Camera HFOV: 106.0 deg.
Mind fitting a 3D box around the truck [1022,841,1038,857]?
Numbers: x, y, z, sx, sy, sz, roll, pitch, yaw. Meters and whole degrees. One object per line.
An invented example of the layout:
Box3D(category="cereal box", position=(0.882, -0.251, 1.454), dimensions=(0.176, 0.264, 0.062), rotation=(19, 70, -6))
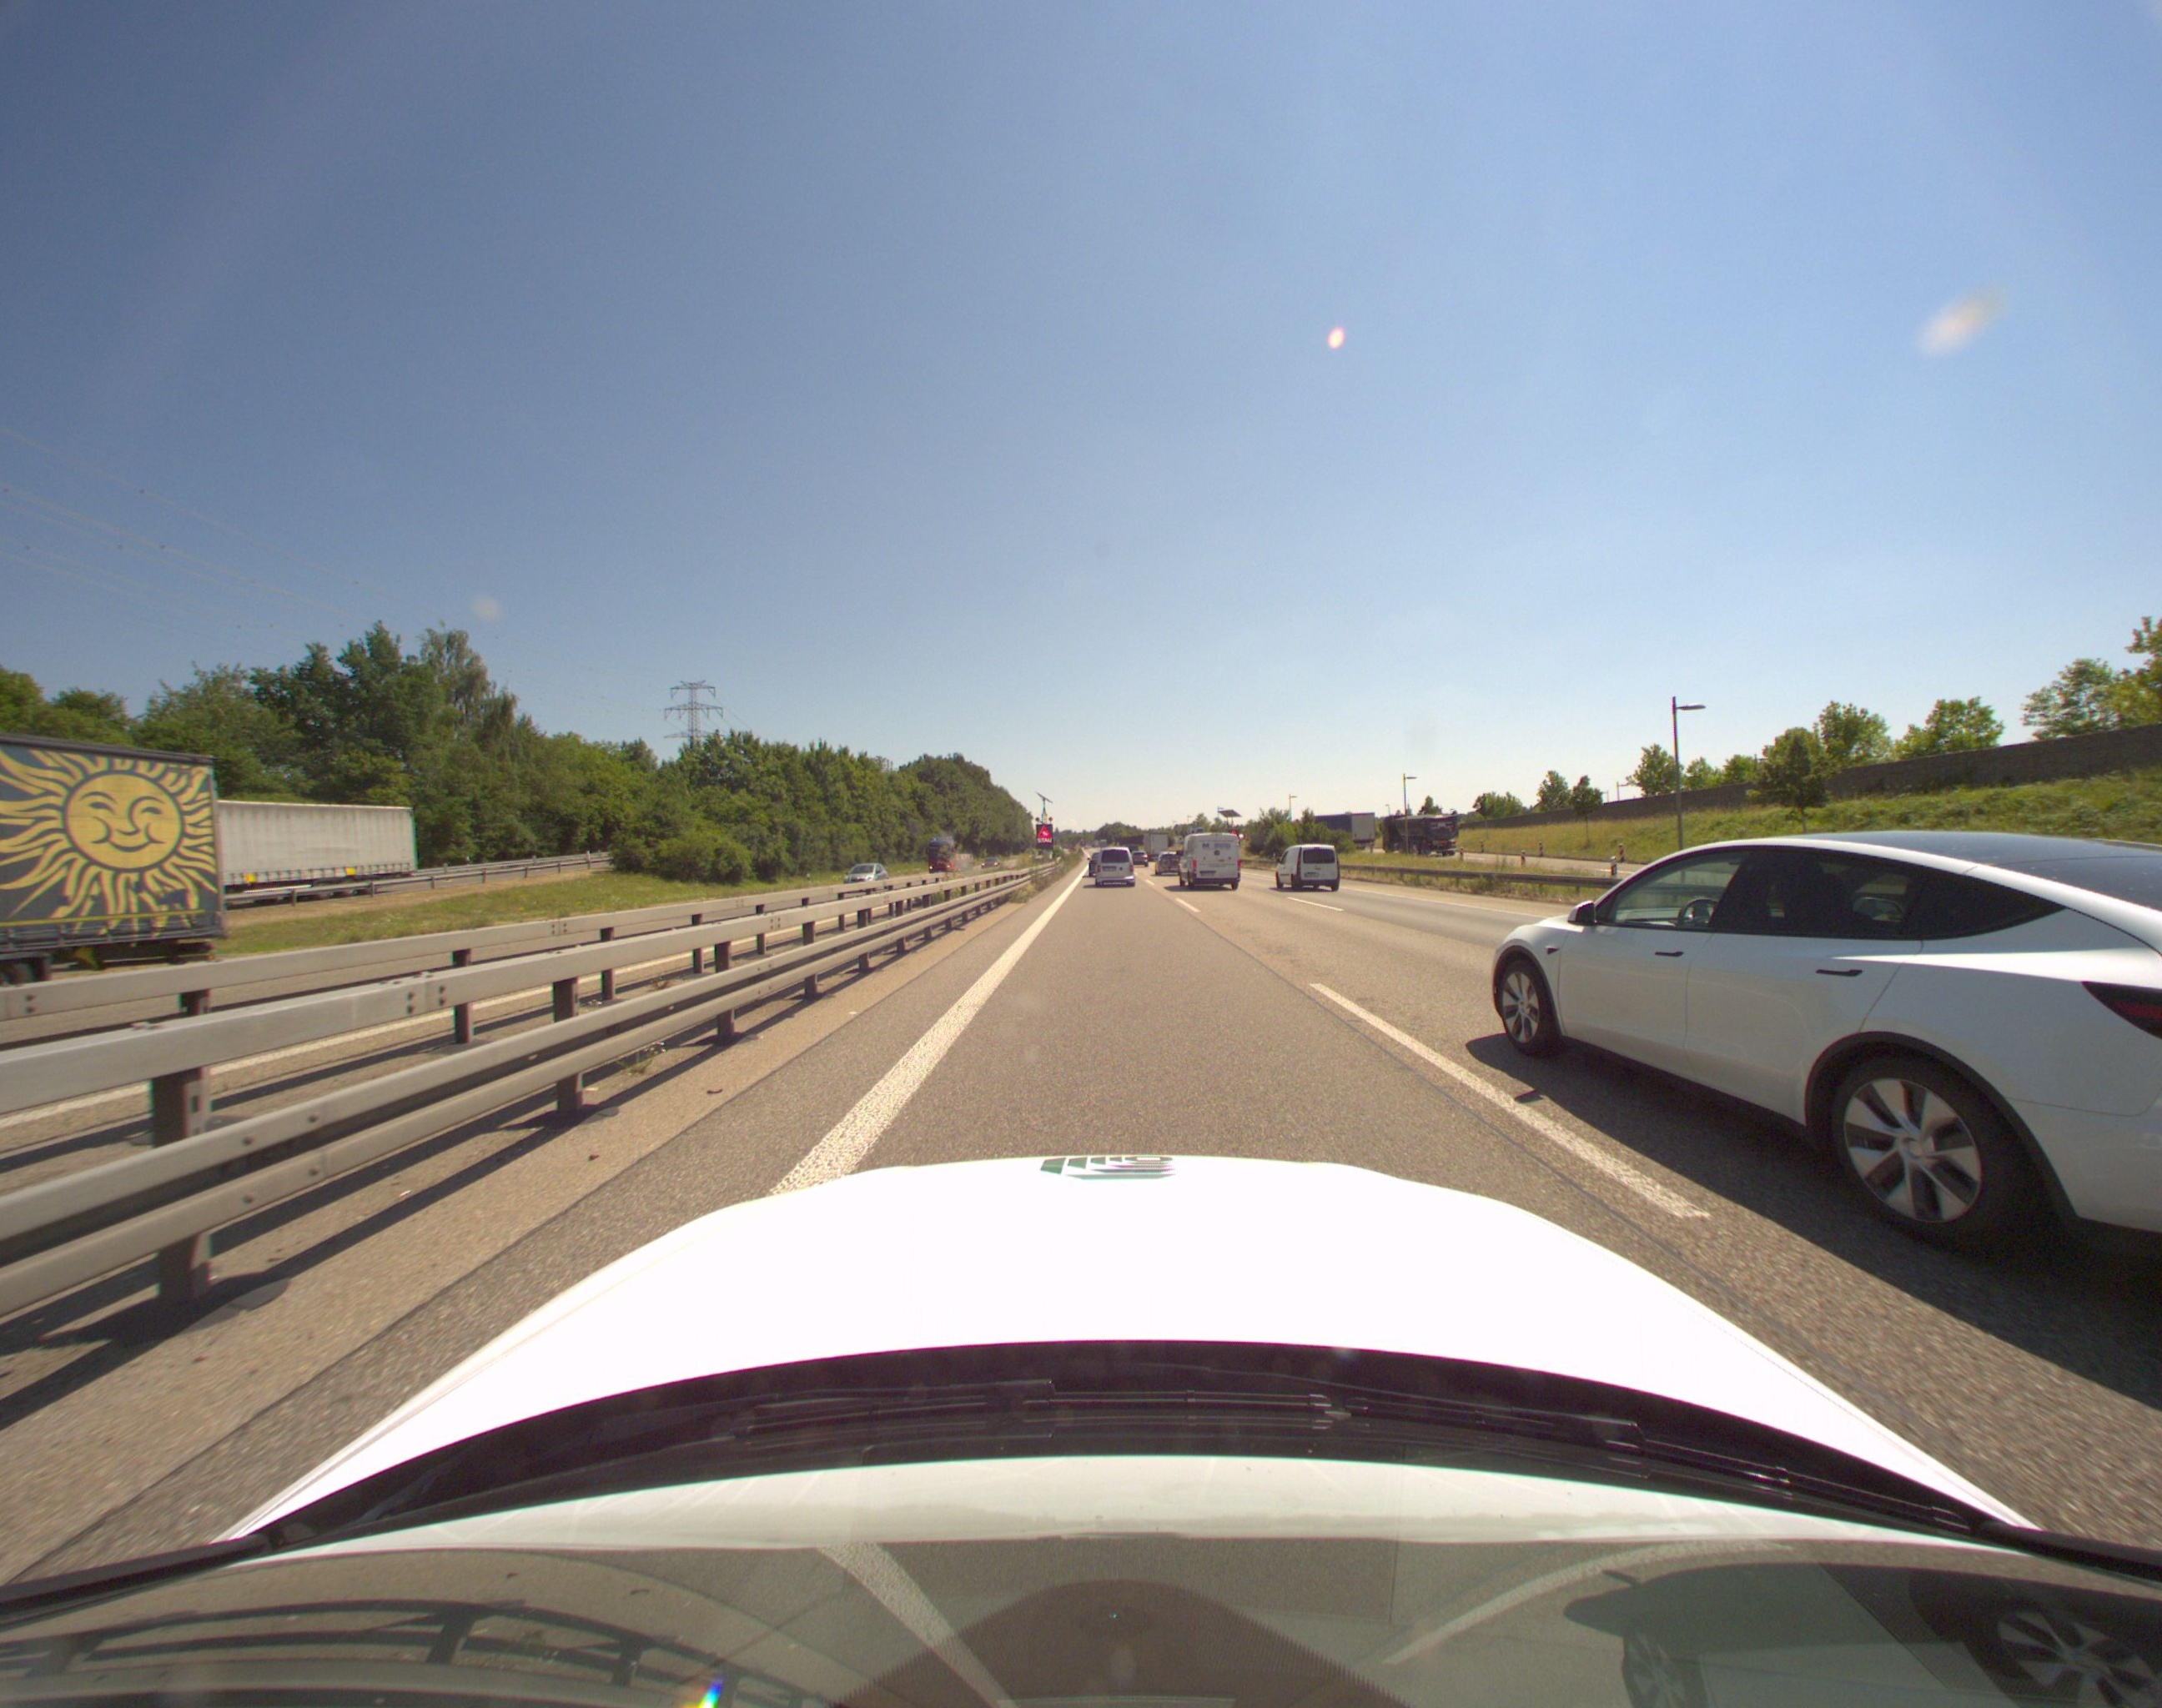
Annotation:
Box3D(category="truck", position=(-13.154, -1.222, 210.136), dimensions=(2.985, 3.802, 10.791), rotation=(-2, 0, 1))

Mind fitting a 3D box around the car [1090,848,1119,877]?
Box3D(category="car", position=(1.537, 0.500, 51.931), dimensions=(1.738, 1.701, 4.091), rotation=(-2, 0, 3))

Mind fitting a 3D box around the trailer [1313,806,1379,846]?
Box3D(category="trailer", position=(30.049, -3.047, 93.140), dimensions=(3.042, 4.083, 14.259), rotation=(0, 0, 1))

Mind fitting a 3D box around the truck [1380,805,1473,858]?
Box3D(category="truck", position=(29.056, -1.746, 69.413), dimensions=(3.769, 4.083, 12.538), rotation=(0, 0, 6))

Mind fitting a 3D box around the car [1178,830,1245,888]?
Box3D(category="car", position=(5.428, 0.204, 34.637), dimensions=(2.173, 2.254, 5.366), rotation=(-1, 0, 2))

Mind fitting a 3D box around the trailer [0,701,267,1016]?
Box3D(category="trailer", position=(-16.533, 0.113, 7.860), dimensions=(3.163, 4.341, 13.815), rotation=(-2, 0, 1))

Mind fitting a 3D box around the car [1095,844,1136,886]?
Box3D(category="car", position=(1.586, 0.491, 37.486), dimensions=(1.738, 1.764, 4.091), rotation=(-2, 0, 2))

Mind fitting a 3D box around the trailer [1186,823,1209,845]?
Box3D(category="trailer", position=(25.078, -4.292, 176.427), dimensions=(2.596, 4.257, 18.423), rotation=(0, 0, 1))

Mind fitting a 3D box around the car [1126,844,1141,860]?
Box3D(category="car", position=(6.369, -0.252, 98.536), dimensions=(1.668, 1.891, 4.091), rotation=(-2, 0, 2))

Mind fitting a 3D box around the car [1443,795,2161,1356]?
Box3D(category="car", position=(4.155, 0.620, 4.463), dimensions=(1.943, 1.636, 5.602), rotation=(-1, 0, 1))

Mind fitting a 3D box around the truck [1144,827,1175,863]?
Box3D(category="truck", position=(11.367, -1.288, 119.430), dimensions=(3.773, 4.999, 12.525), rotation=(0, 0, 2))

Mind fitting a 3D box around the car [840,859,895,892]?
Box3D(category="car", position=(-11.543, 1.134, 44.300), dimensions=(1.775, 1.530, 3.884), rotation=(-4, 0, 1))

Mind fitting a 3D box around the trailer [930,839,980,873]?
Box3D(category="trailer", position=(-14.735, 0.168, 96.618), dimensions=(2.985, 3.558, 16.026), rotation=(-2, 0, 1))

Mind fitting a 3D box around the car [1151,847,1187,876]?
Box3D(category="car", position=(5.666, 0.487, 52.959), dimensions=(1.968, 1.733, 4.091), rotation=(-2, 0, 2))

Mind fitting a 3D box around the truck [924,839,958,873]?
Box3D(category="truck", position=(-14.923, 0.200, 87.044), dimensions=(2.986, 3.558, 3.118), rotation=(-2, 0, 1))

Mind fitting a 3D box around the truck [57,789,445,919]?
Box3D(category="truck", position=(-33.778, -0.277, 34.901), dimensions=(2.993, 4.340, 14.515), rotation=(-2, 2, -7))

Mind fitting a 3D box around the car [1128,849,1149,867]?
Box3D(category="car", position=(5.682, 0.361, 80.935), dimensions=(1.894, 1.672, 4.091), rotation=(-2, 0, 2))

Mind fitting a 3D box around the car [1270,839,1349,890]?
Box3D(category="car", position=(9.031, 0.377, 32.559), dimensions=(1.944, 1.837, 4.178), rotation=(-2, 0, 0))

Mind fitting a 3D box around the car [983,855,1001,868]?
Box3D(category="car", position=(-10.339, 0.884, 94.821), dimensions=(1.765, 1.334, 4.916), rotation=(-3, 0, -3))
